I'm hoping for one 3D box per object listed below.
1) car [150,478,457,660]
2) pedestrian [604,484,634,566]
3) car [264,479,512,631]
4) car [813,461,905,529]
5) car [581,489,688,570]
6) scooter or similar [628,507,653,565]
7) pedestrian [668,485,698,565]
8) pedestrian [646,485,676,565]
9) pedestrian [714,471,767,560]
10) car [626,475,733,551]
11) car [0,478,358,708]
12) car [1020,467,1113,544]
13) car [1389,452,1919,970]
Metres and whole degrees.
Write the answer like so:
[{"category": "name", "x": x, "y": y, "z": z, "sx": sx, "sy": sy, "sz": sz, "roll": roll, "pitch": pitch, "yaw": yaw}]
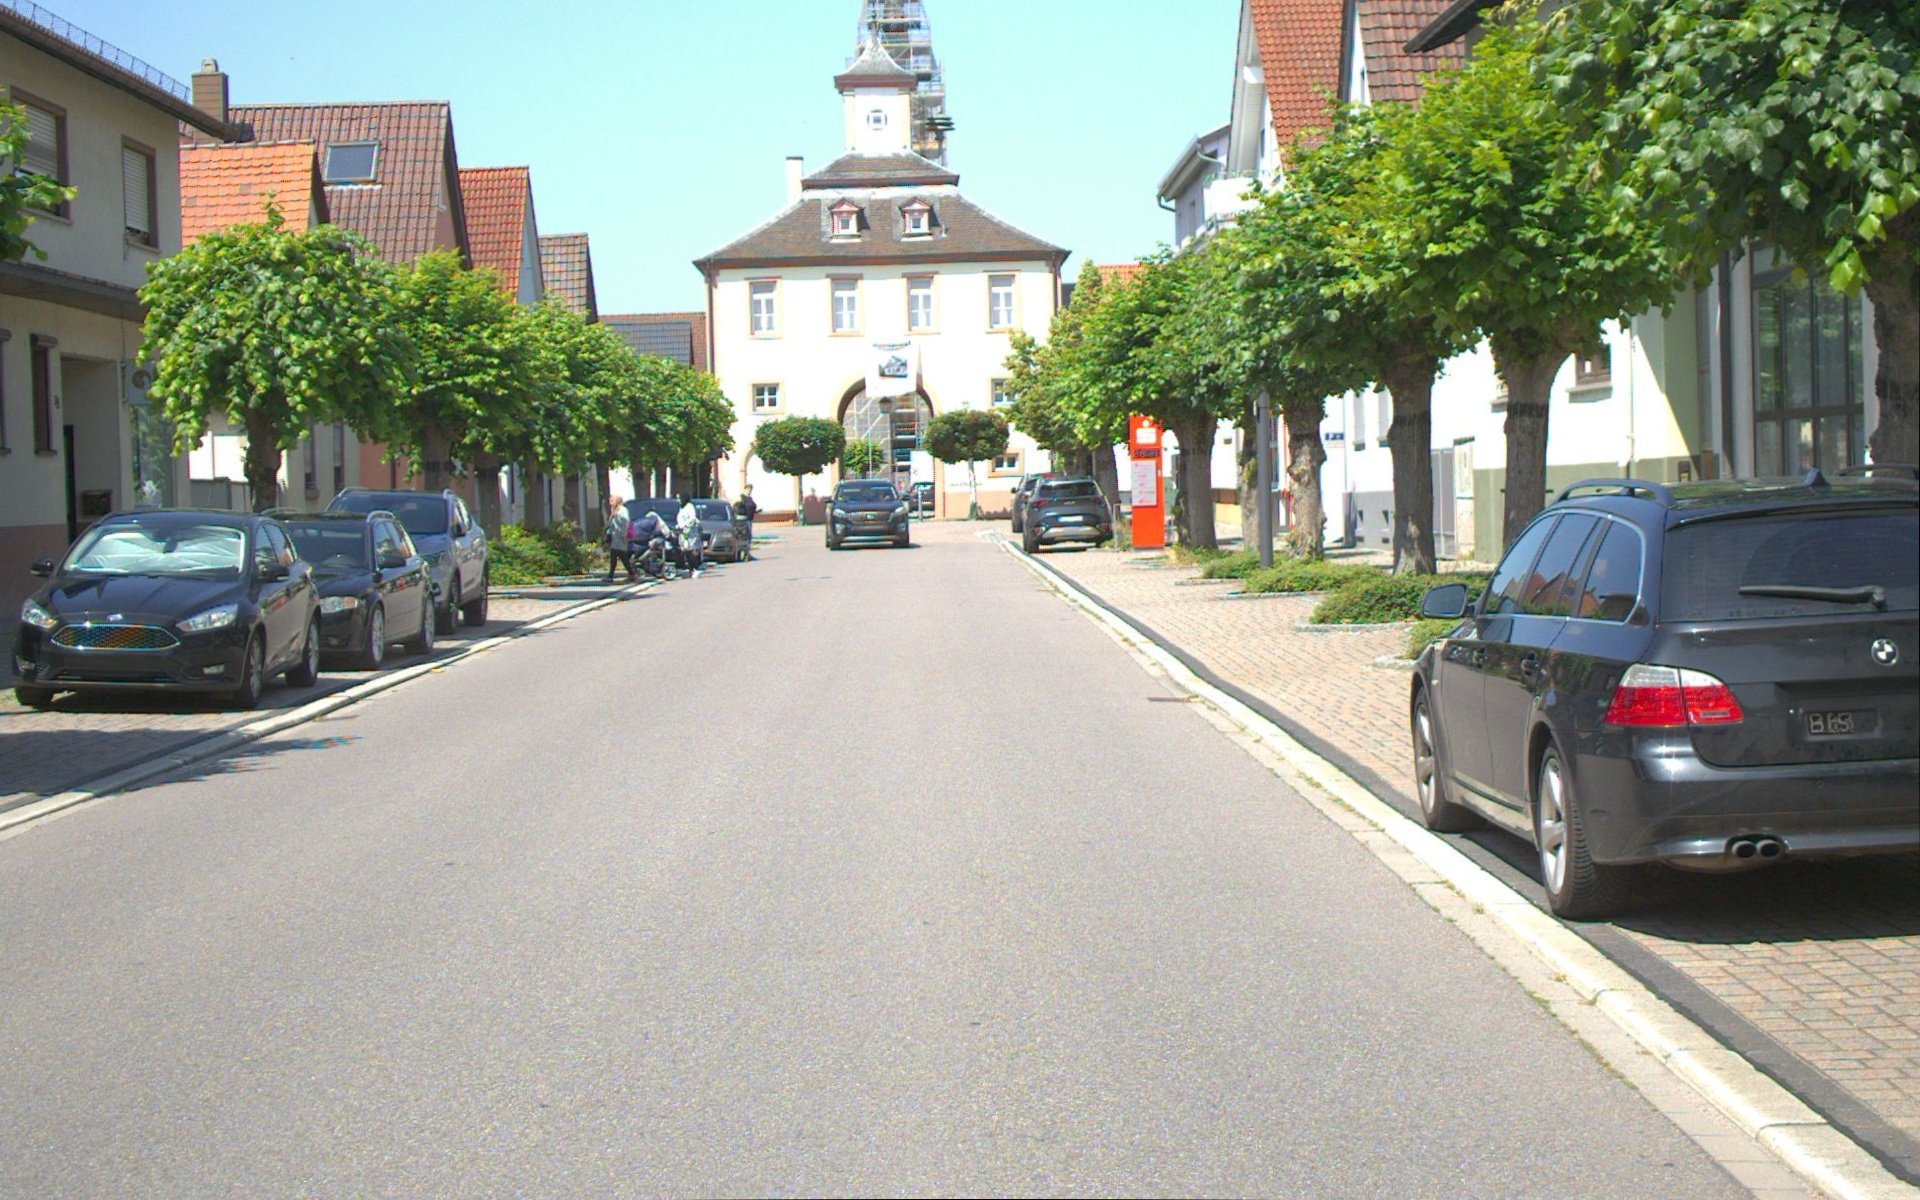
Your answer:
[{"category": "car", "x": -6.155, "y": -0.329, "z": 32.766, "sx": 1.993, "sy": 1.606, "sz": 4.689, "roll": 0, "pitch": 1, "yaw": 0}, {"category": "pedestrian", "x": -5.890, "y": -1.299, "z": 59.433, "sx": 0.358, "sy": 1.398, "sz": 0.319, "roll": 0, "pitch": 2, "yaw": 37}, {"category": "car", "x": -6.517, "y": -0.569, "z": 39.672, "sx": 1.993, "sy": 1.606, "sz": 4.689, "roll": -1, "pitch": 2, "yaw": 0}, {"category": "car", "x": -2.490, "y": -2.534, "z": 83.694, "sx": 1.993, "sy": 1.606, "sz": 4.507, "roll": 0, "pitch": 1, "yaw": -5}, {"category": "car", "x": -6.582, "y": -1.460, "z": 69.849, "sx": 1.757, "sy": 1.550, "sz": 4.020, "roll": -1, "pitch": 2, "yaw": 0}, {"category": "scooter or similar", "x": -5.622, "y": -1.124, "z": 60.495, "sx": 0.330, "sy": 0.999, "sz": 0.241, "roll": 0, "pitch": 2, "yaw": 37}, {"category": "pedestrian", "x": -4.913, "y": -1.327, "z": 60.975, "sx": 0.358, "sy": 1.398, "sz": 0.319, "roll": 0, "pitch": 2, "yaw": 37}, {"category": "pedestrian", "x": -5.272, "y": -1.322, "z": 60.622, "sx": 0.358, "sy": 1.398, "sz": 0.319, "roll": 0, "pitch": 2, "yaw": 37}, {"category": "pedestrian", "x": -5.007, "y": -1.924, "z": 78.342, "sx": 0.885, "sy": 2.007, "sz": 0.834, "roll": 1, "pitch": 1, "yaw": 27}, {"category": "car", "x": -6.136, "y": -1.908, "z": 75.582, "sx": 1.993, "sy": 1.606, "sz": 3.855, "roll": 0, "pitch": 1, "yaw": 0}, {"category": "car", "x": -6.194, "y": -0.132, "z": 27.222, "sx": 1.993, "sy": 1.606, "sz": 4.689, "roll": 0, "pitch": 3, "yaw": 0}, {"category": "car", "x": 2.311, "y": -2.094, "z": 75.521, "sx": 1.837, "sy": 1.550, "sz": 4.314, "roll": -3, "pitch": 2, "yaw": 0}, {"category": "car", "x": 2.865, "y": 0.261, "z": 12.886, "sx": 1.837, "sy": 1.550, "sz": 4.314, "roll": -3, "pitch": 2, "yaw": -1}]
